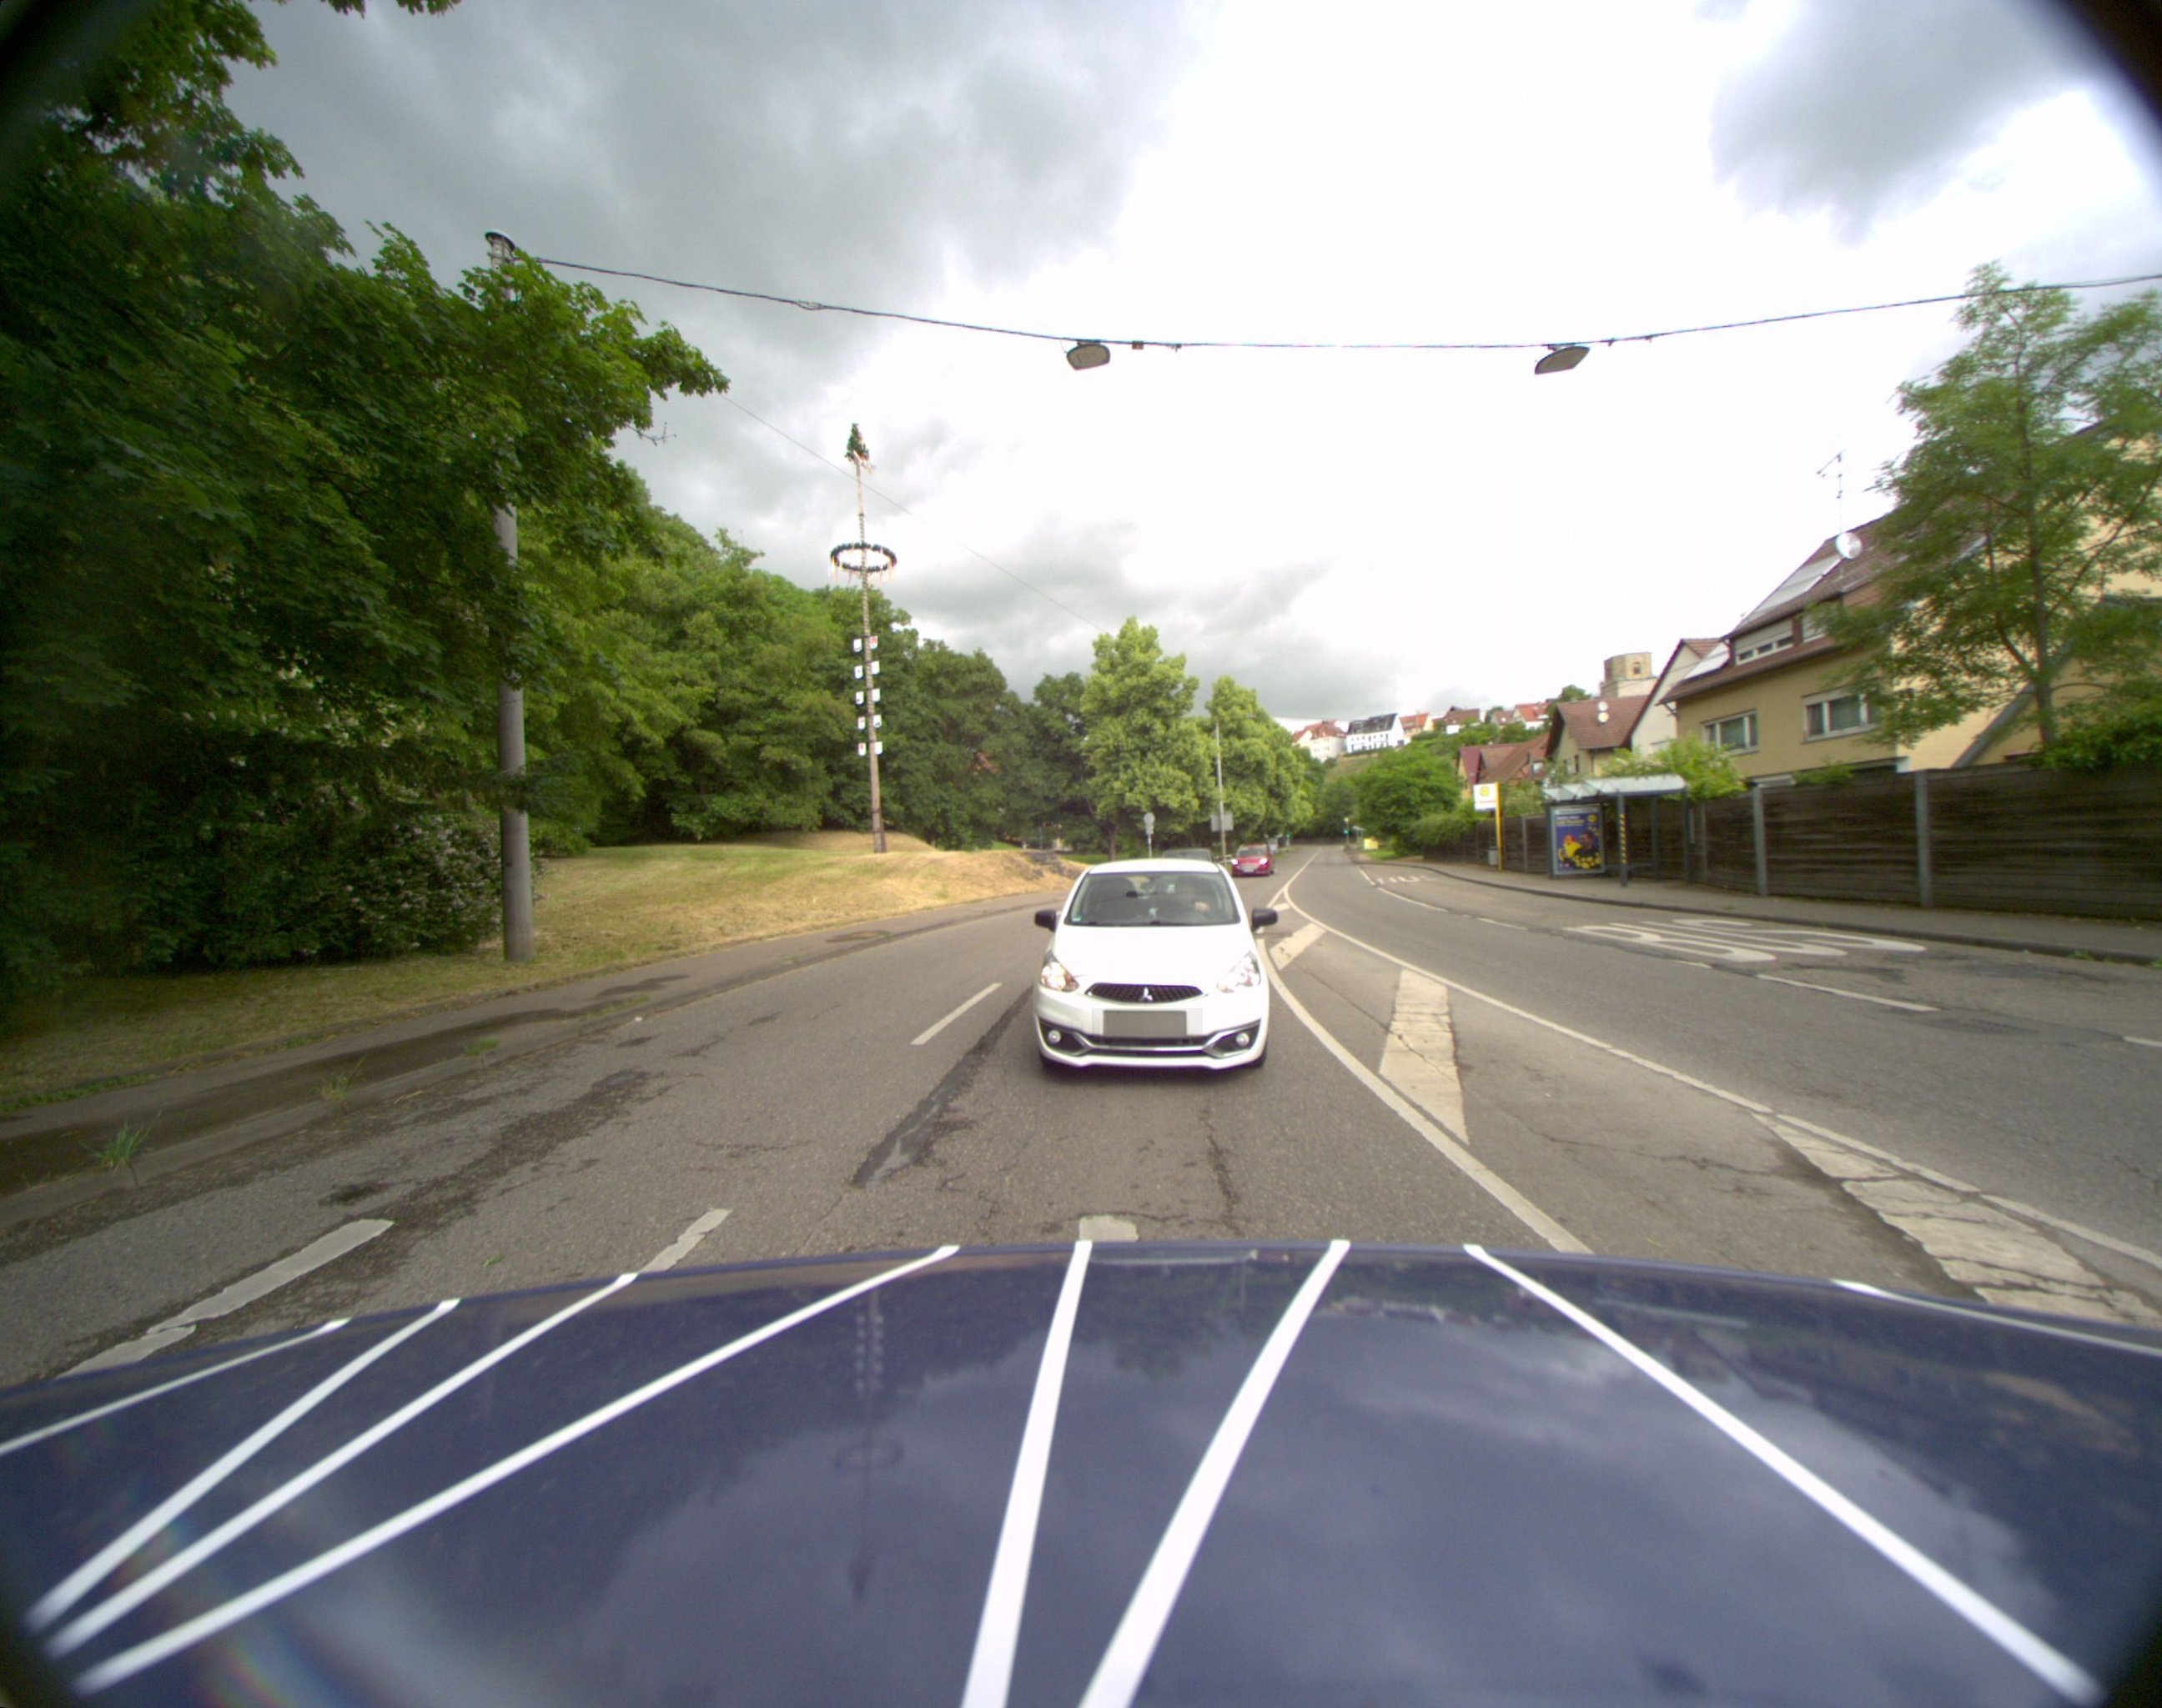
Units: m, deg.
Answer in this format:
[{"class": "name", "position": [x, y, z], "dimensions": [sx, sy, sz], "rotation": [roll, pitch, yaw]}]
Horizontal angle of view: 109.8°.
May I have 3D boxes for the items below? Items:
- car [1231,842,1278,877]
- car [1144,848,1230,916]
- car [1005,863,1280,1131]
[{"class": "car", "position": [9.102, 0.238, 39.682], "dimensions": [1.825, 1.662, 4.063], "rotation": [-2, 1, 20]}, {"class": "car", "position": [2.893, 0.669, 20.050], "dimensions": [1.722, 1.539, 3.785], "rotation": [-2, 1, 15]}, {"class": "car", "position": [0.635, 0.910, 6.425], "dimensions": [1.617, 1.505, 3.607], "rotation": [-2, 1, 9]}]
